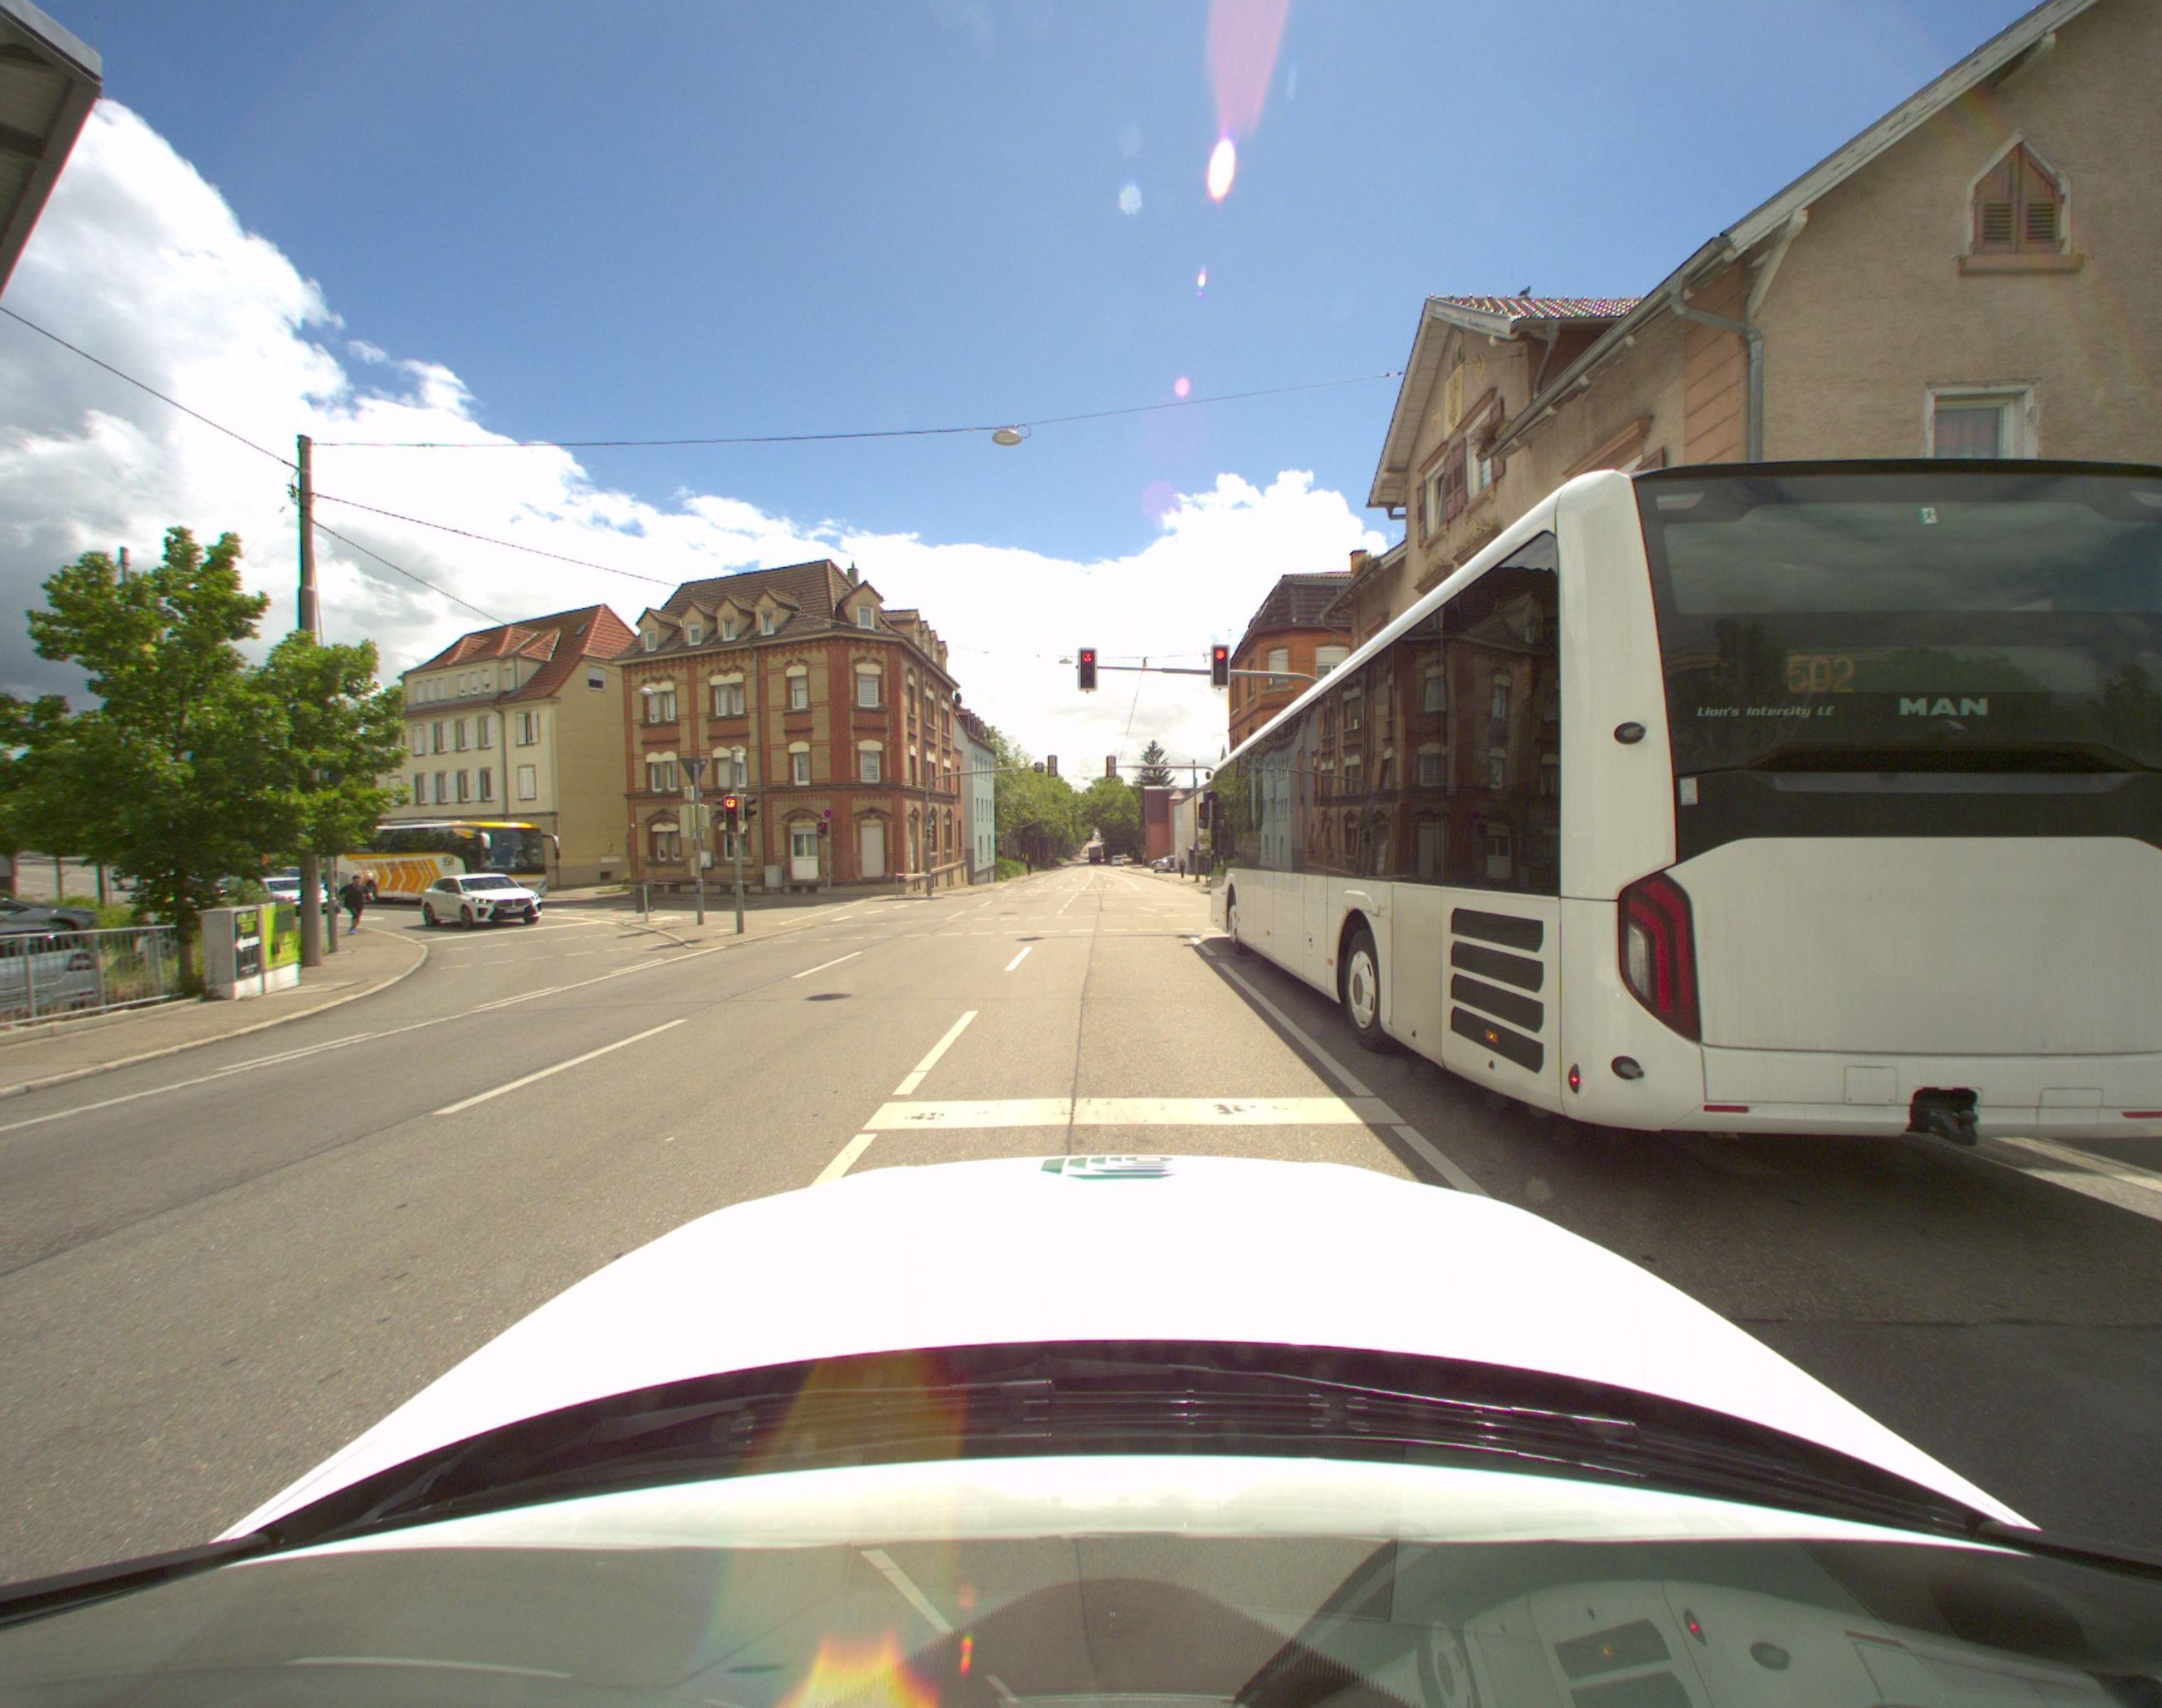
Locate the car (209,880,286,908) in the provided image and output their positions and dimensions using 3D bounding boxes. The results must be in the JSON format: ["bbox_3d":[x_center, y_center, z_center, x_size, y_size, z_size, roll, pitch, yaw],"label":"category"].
[{"bbox_3d":[-45.673,2.172,44.631,3.949,1.409,1.923,-2,0,29],"label":"car"}]

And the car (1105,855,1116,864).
[{"bbox_3d":[5.278,0.989,145.926,1.787,1.409,4.421,-1,0,3],"label":"car"}]

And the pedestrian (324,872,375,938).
[{"bbox_3d":[-20.194,1.383,22.482,1.129,1.734,0.764,-2,-1,34],"label":"pedestrian"}]

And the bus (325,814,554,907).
[{"bbox_3d":[-28.160,0.384,35.493,12.110,3.622,2.788,-1,0,26],"label":"bus"}]

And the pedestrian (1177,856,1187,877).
[{"bbox_3d":[8.614,1.074,69.190,0.736,1.750,0.619,-2,0,1],"label":"pedestrian"}]

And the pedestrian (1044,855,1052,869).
[{"bbox_3d":[-4.784,1.183,117.101,0.991,2.013,1.189,-2,0,1],"label":"pedestrian"}]

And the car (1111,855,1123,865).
[{"bbox_3d":[5.746,0.951,129.561,1.787,1.409,4.001,-1,0,2],"label":"car"}]

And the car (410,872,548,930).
[{"bbox_3d":[-18.483,1.451,24.978,4.250,1.552,1.845,-4,-1,31],"label":"car"}]

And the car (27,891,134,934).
[{"bbox_3d":[-37.593,2.161,30.600,3.456,1.448,1.811,-2,0,26],"label":"car"}]

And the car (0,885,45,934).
[{"bbox_3d":[-36.175,1.835,25.674,1.785,1.554,4.023,-2,0,25],"label":"car"}]

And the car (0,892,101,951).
[{"bbox_3d":[-29.545,1.865,22.108,1.777,1.477,3.522,-2,0,32],"label":"car"}]

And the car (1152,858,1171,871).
[{"bbox_3d":[9.220,1.176,93.030,1.788,1.409,4.000,-2,0,1],"label":"car"}]

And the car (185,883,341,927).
[{"bbox_3d":[-30.448,1.867,30.436,3.614,1.418,1.875,-2,0,-14],"label":"car"}]

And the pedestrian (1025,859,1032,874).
[{"bbox_3d":[-5.663,1.366,87.996,0.727,1.565,0.561,-1,-1,0],"label":"pedestrian"}]

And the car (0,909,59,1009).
[{"bbox_3d":[-19.565,1.837,14.178,3.455,1.526,1.626,-1,2,29],"label":"car"}]

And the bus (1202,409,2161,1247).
[{"bbox_3d":[3.440,-0.104,9.311,2.662,3.155,12.467,0,0,2],"label":"bus"}]

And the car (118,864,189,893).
[{"bbox_3d":[-53.680,1.418,47.107,3.949,1.554,1.923,-2,0,29],"label":"car"}]

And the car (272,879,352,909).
[{"bbox_3d":[-39.090,2.017,41.377,3.949,1.409,1.762,-2,0,28],"label":"car"}]

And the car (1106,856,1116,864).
[{"bbox_3d":[5.735,1.125,154.026,1.787,1.409,4.421,-1,0,3],"label":"car"}]

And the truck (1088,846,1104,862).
[{"bbox_3d":[3.142,-0.041,173.183,2.917,3.081,7.883,-2,0,0],"label":"truck"}]

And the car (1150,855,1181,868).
[{"bbox_3d":[11.766,1.045,113.085,3.978,1.757,1.998,-2,0,-3],"label":"car"}]

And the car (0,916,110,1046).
[{"bbox_3d":[-16.053,1.835,12.038,3.321,1.560,1.692,0,2,32],"label":"car"}]

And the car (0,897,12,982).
[{"bbox_3d":[-23.501,1.758,16.529,3.455,1.680,1.663,-1,2,30],"label":"car"}]
